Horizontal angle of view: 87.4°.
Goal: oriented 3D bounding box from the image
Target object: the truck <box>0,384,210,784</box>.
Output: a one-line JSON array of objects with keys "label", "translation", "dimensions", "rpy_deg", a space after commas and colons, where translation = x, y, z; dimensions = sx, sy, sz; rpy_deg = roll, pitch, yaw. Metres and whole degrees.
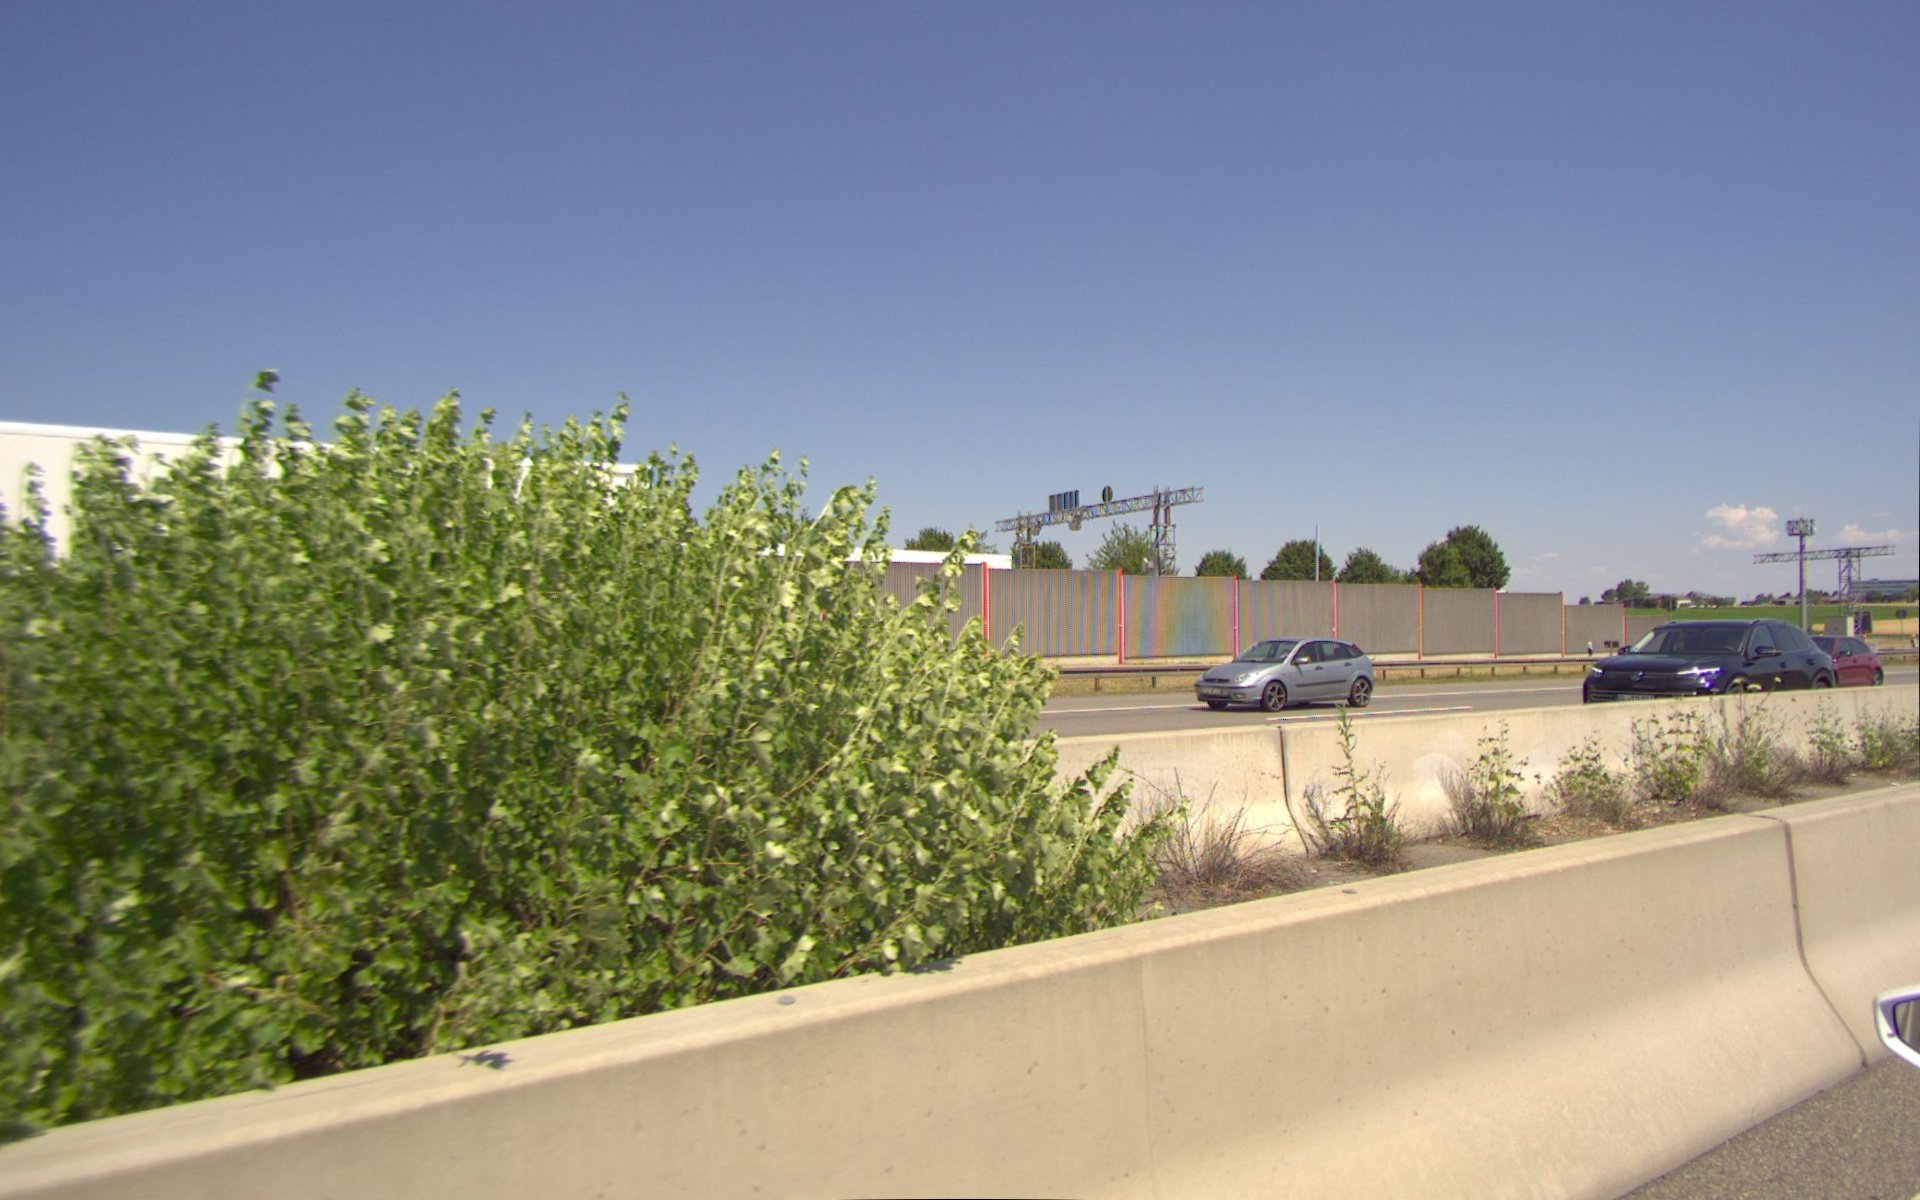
[{"label": "truck", "translation": [-10.958, -0.153, 10.447], "dimensions": [4.670, 3.924, 2.628], "rpy_deg": [1, -2, -30]}]

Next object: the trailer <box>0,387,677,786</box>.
[{"label": "trailer", "translation": [-7.207, -0.032, 12.659], "dimensions": [6.539, 3.924, 2.635], "rpy_deg": [1, -2, -30]}]

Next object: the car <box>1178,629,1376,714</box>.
[{"label": "car", "translation": [6.558, 1.417, 20.672], "dimensions": [3.953, 1.539, 1.647], "rpy_deg": [2, 0, -30]}]

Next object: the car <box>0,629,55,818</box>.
[{"label": "car", "translation": [-9.733, 0.906, 6.796], "dimensions": [5.045, 1.449, 1.782], "rpy_deg": [2, -2, -30]}]

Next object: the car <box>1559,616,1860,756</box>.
[{"label": "car", "translation": [11.201, 1.145, 14.953], "dimensions": [4.589, 1.782, 1.984], "rpy_deg": [1, -1, -30]}]
